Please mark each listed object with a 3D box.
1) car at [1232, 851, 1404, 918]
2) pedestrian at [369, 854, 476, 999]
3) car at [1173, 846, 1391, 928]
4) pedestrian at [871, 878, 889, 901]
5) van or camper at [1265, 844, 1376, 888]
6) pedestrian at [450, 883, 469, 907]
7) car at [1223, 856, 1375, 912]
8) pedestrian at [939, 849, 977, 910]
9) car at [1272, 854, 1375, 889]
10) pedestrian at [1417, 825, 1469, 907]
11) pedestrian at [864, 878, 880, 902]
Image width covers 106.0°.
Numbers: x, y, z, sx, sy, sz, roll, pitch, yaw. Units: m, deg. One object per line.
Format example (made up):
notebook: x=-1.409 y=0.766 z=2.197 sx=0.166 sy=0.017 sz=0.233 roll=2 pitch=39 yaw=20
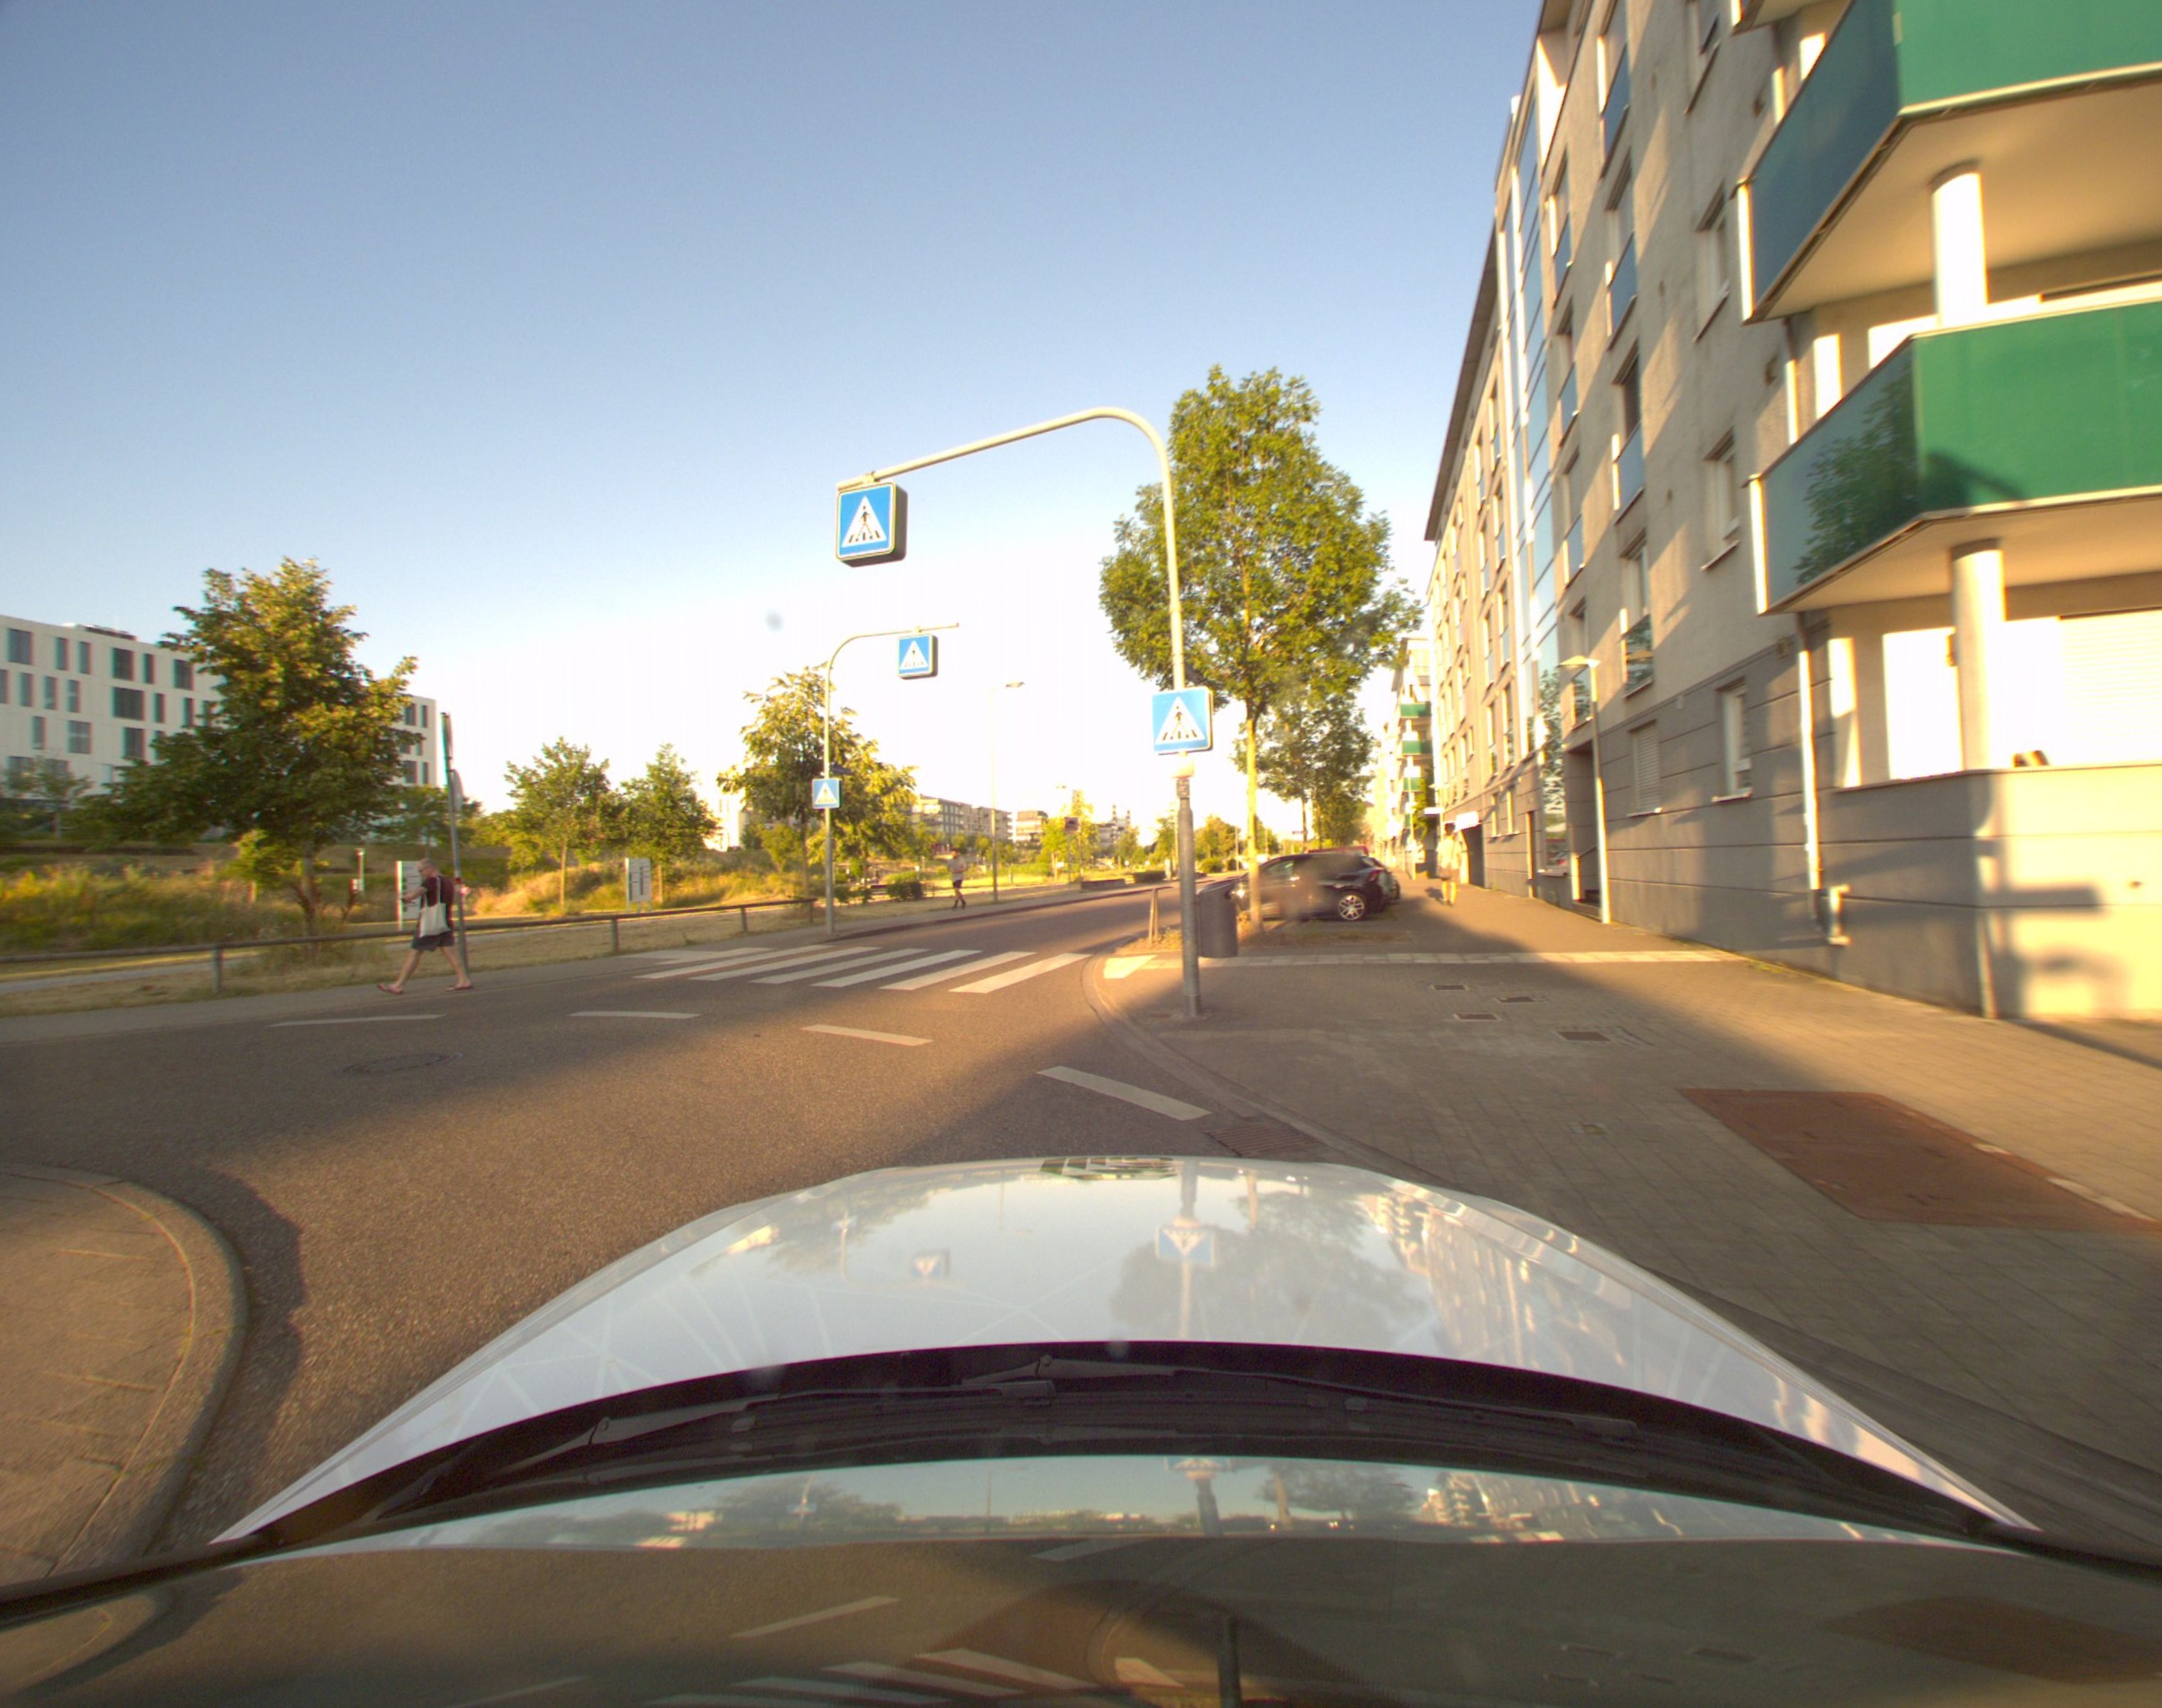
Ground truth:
car: x=5.959 y=0.764 z=20.662 sx=3.962 sy=1.374 sz=1.566 roll=-4 pitch=-1 yaw=16
pedestrian: x=-8.467 y=0.902 z=10.493 sx=0.793 sy=1.784 sz=0.737 roll=-1 pitch=-1 yaw=16
car: x=4.463 y=0.740 z=18.228 sx=4.432 sy=1.487 sz=1.841 roll=-4 pitch=-2 yaw=16
pedestrian: x=-8.669 y=1.527 z=35.127 sx=0.495 sy=1.005 sz=0.573 roll=-1 pitch=-1 yaw=13
van or camper: x=11.740 y=0.606 z=40.120 sx=5.076 sy=2.060 sz=1.885 roll=-1 pitch=-1 yaw=16
pedestrian: x=-47.690 y=3.162 z=62.468 sx=0.824 sy=1.766 sz=0.822 roll=-2 pitch=-1 yaw=21
car: x=6.204 y=0.853 z=23.266 sx=4.012 sy=1.480 sz=1.709 roll=-1 pitch=-1 yaw=16
pedestrian: x=-3.588 y=0.735 z=23.801 sx=0.758 sy=1.730 sz=0.806 roll=-2 pitch=-1 yaw=22
car: x=11.114 y=0.809 z=37.479 sx=4.418 sy=1.521 sz=1.708 roll=-1 pitch=-1 yaw=16
pedestrian: x=8.832 y=0.299 z=19.912 sx=0.969 sy=1.894 sz=1.055 roll=-3 pitch=-2 yaw=18
pedestrian: x=-8.828 y=1.520 z=34.416 sx=0.495 sy=1.005 sz=0.483 roll=-1 pitch=-1 yaw=13
